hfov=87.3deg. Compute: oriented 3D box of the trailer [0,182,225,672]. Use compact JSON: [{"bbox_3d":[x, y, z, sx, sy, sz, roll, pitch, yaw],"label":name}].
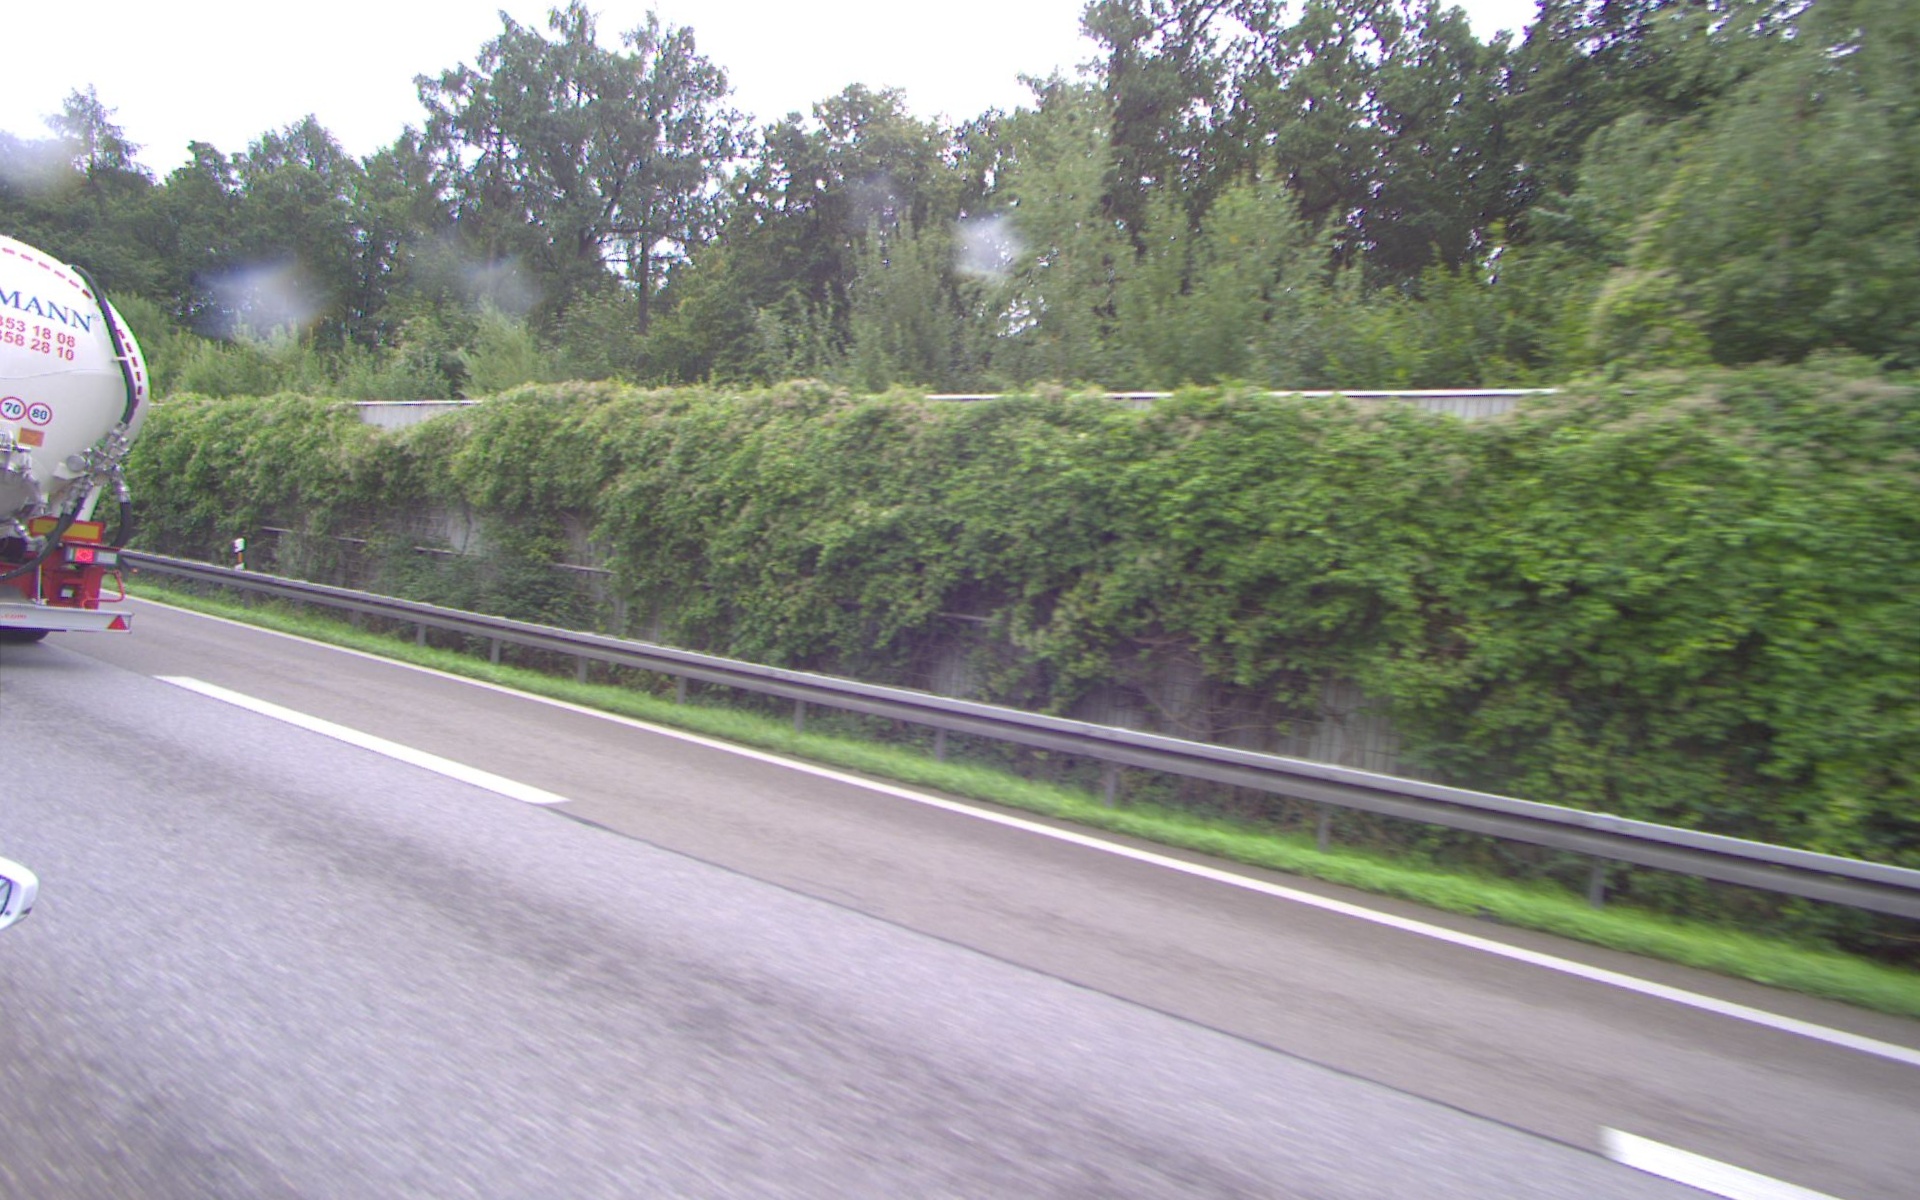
[{"bbox_3d":[-13.356,-1.996,11.889,12.914,3.986,2.672,6,-1,32],"label":"trailer"}]
